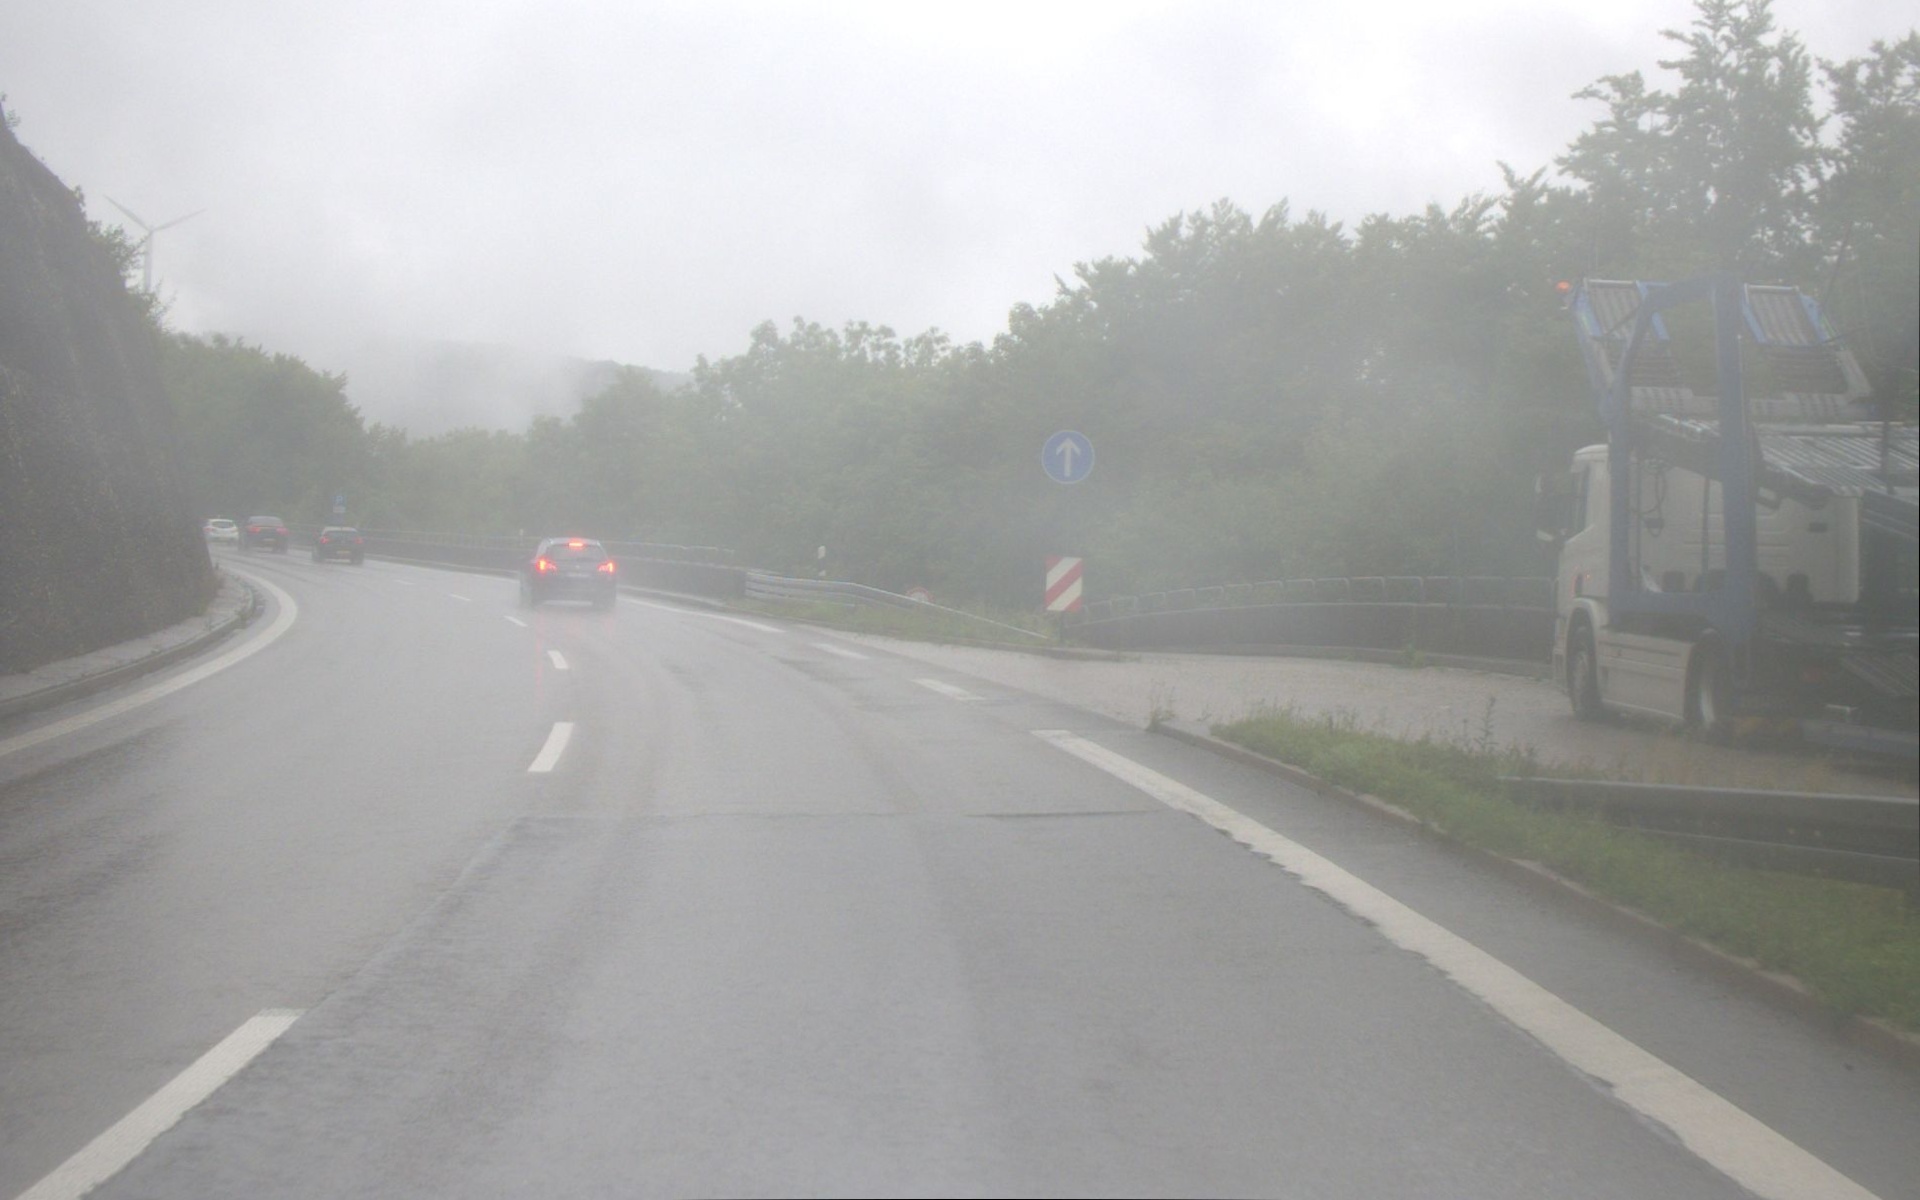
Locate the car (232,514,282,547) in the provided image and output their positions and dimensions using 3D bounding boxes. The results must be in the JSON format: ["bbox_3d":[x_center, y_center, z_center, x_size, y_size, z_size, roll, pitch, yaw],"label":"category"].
[{"bbox_3d":[-33.913,-3.337,165.778,1.903,1.494,4.001,2,1,-17],"label":"car"}]

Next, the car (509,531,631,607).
[{"bbox_3d":[-8.333,-0.676,73.184,1.903,1.494,4.001,2,1,-16],"label":"car"}]

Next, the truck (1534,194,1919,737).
[{"bbox_3d":[7.323,-1.088,30.345,2.895,4.230,6.882,0,1,-4],"label":"truck"}]

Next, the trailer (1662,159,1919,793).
[{"bbox_3d":[7.923,-0.812,21.924,2.892,4.230,14.700,0,1,-4],"label":"trailer"}]

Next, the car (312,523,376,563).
[{"bbox_3d":[-24.790,-2.304,138.293,1.903,1.494,4.001,2,1,-18],"label":"car"}]
